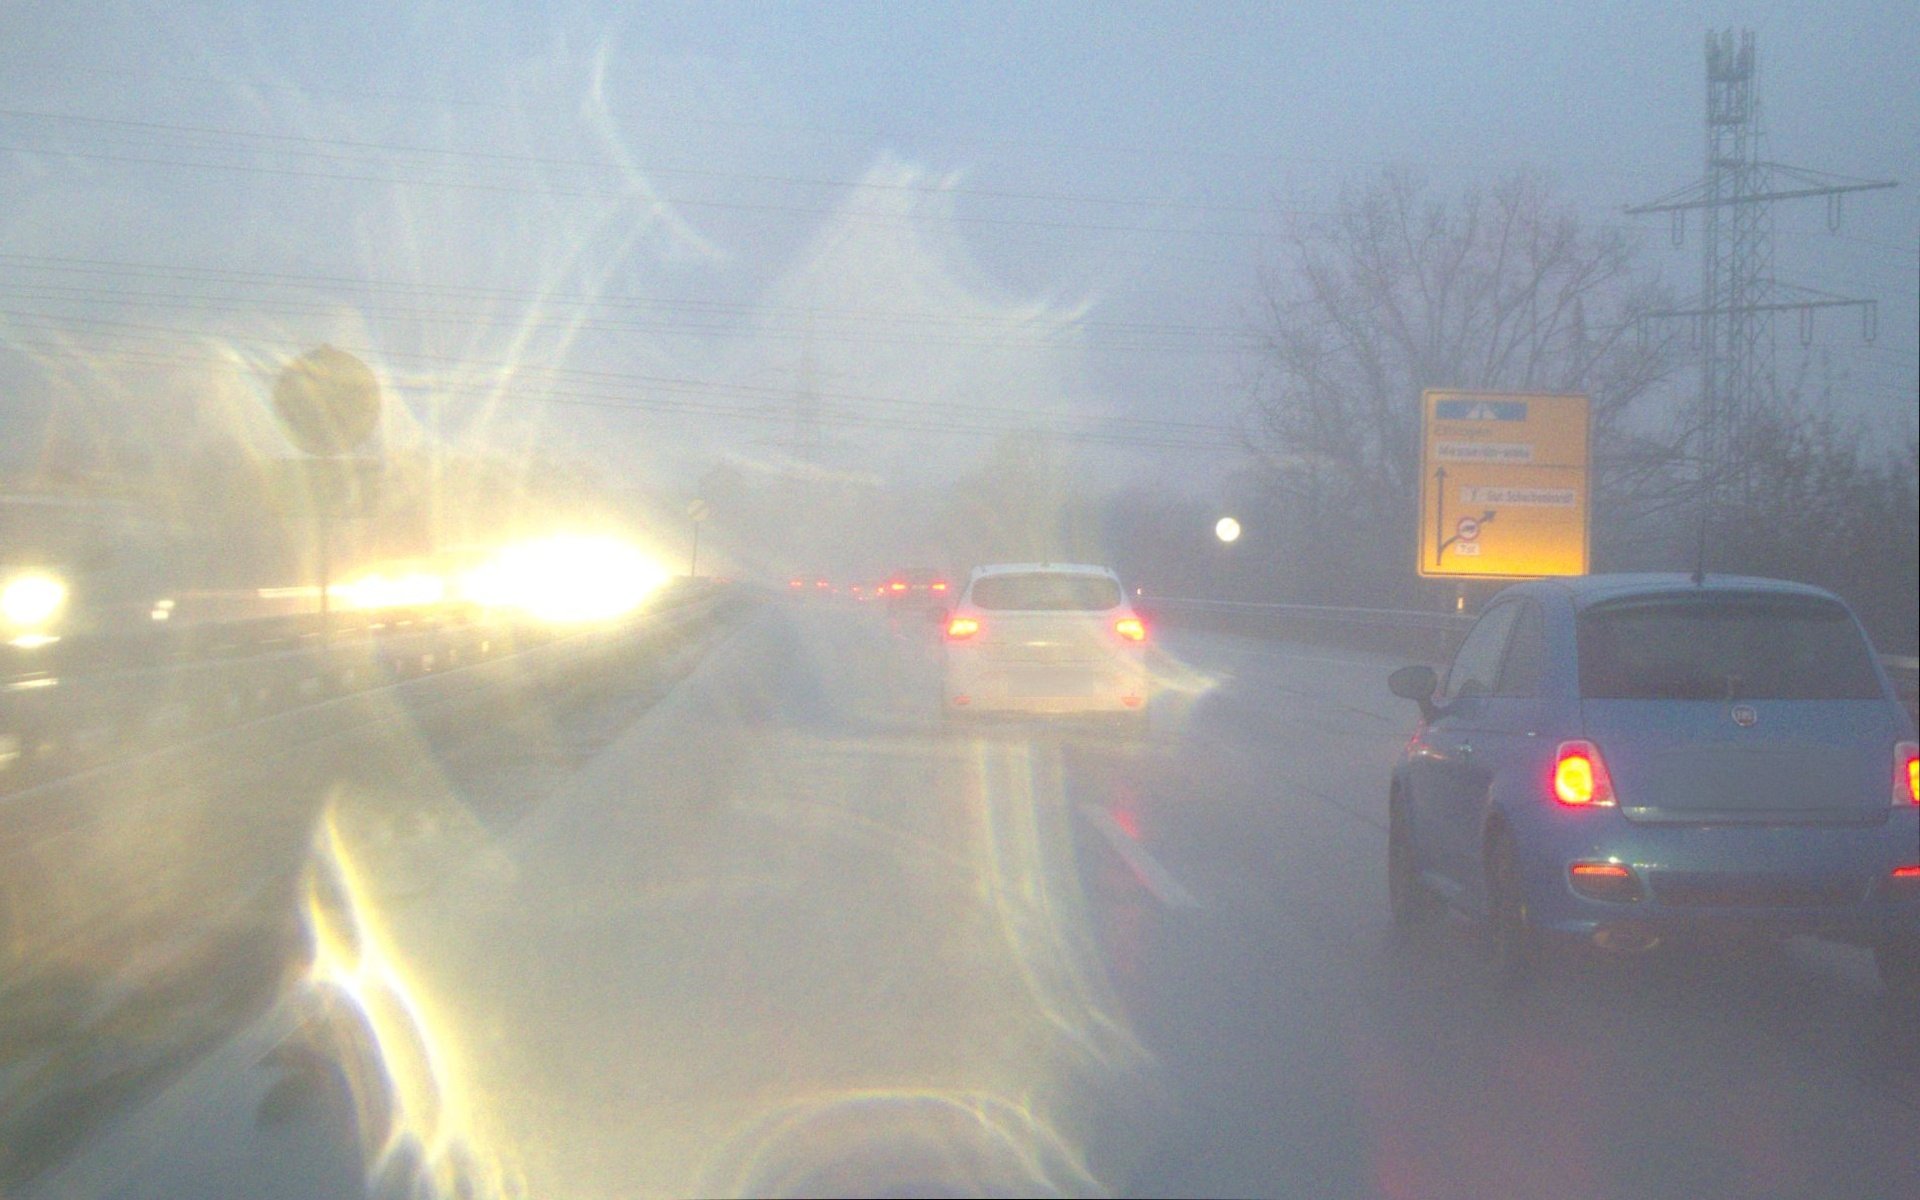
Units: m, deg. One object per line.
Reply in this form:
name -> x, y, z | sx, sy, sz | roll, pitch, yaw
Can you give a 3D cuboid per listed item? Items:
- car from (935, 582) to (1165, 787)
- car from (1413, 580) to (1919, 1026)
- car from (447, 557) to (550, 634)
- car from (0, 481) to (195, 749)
car -> 0.724, 0.685, 30.079 | 1.845, 1.630, 3.768 | 1, 0, -1
car -> 3.058, 0.698, 14.065 | 1.845, 1.448, 4.149 | 0, 2, 0
car -> -10.267, -0.108, 76.691 | 1.846, 1.646, 3.538 | 1, 0, -1
car -> -8.201, 0.034, 29.929 | 1.993, 2.128, 5.200 | 0, 2, -1
